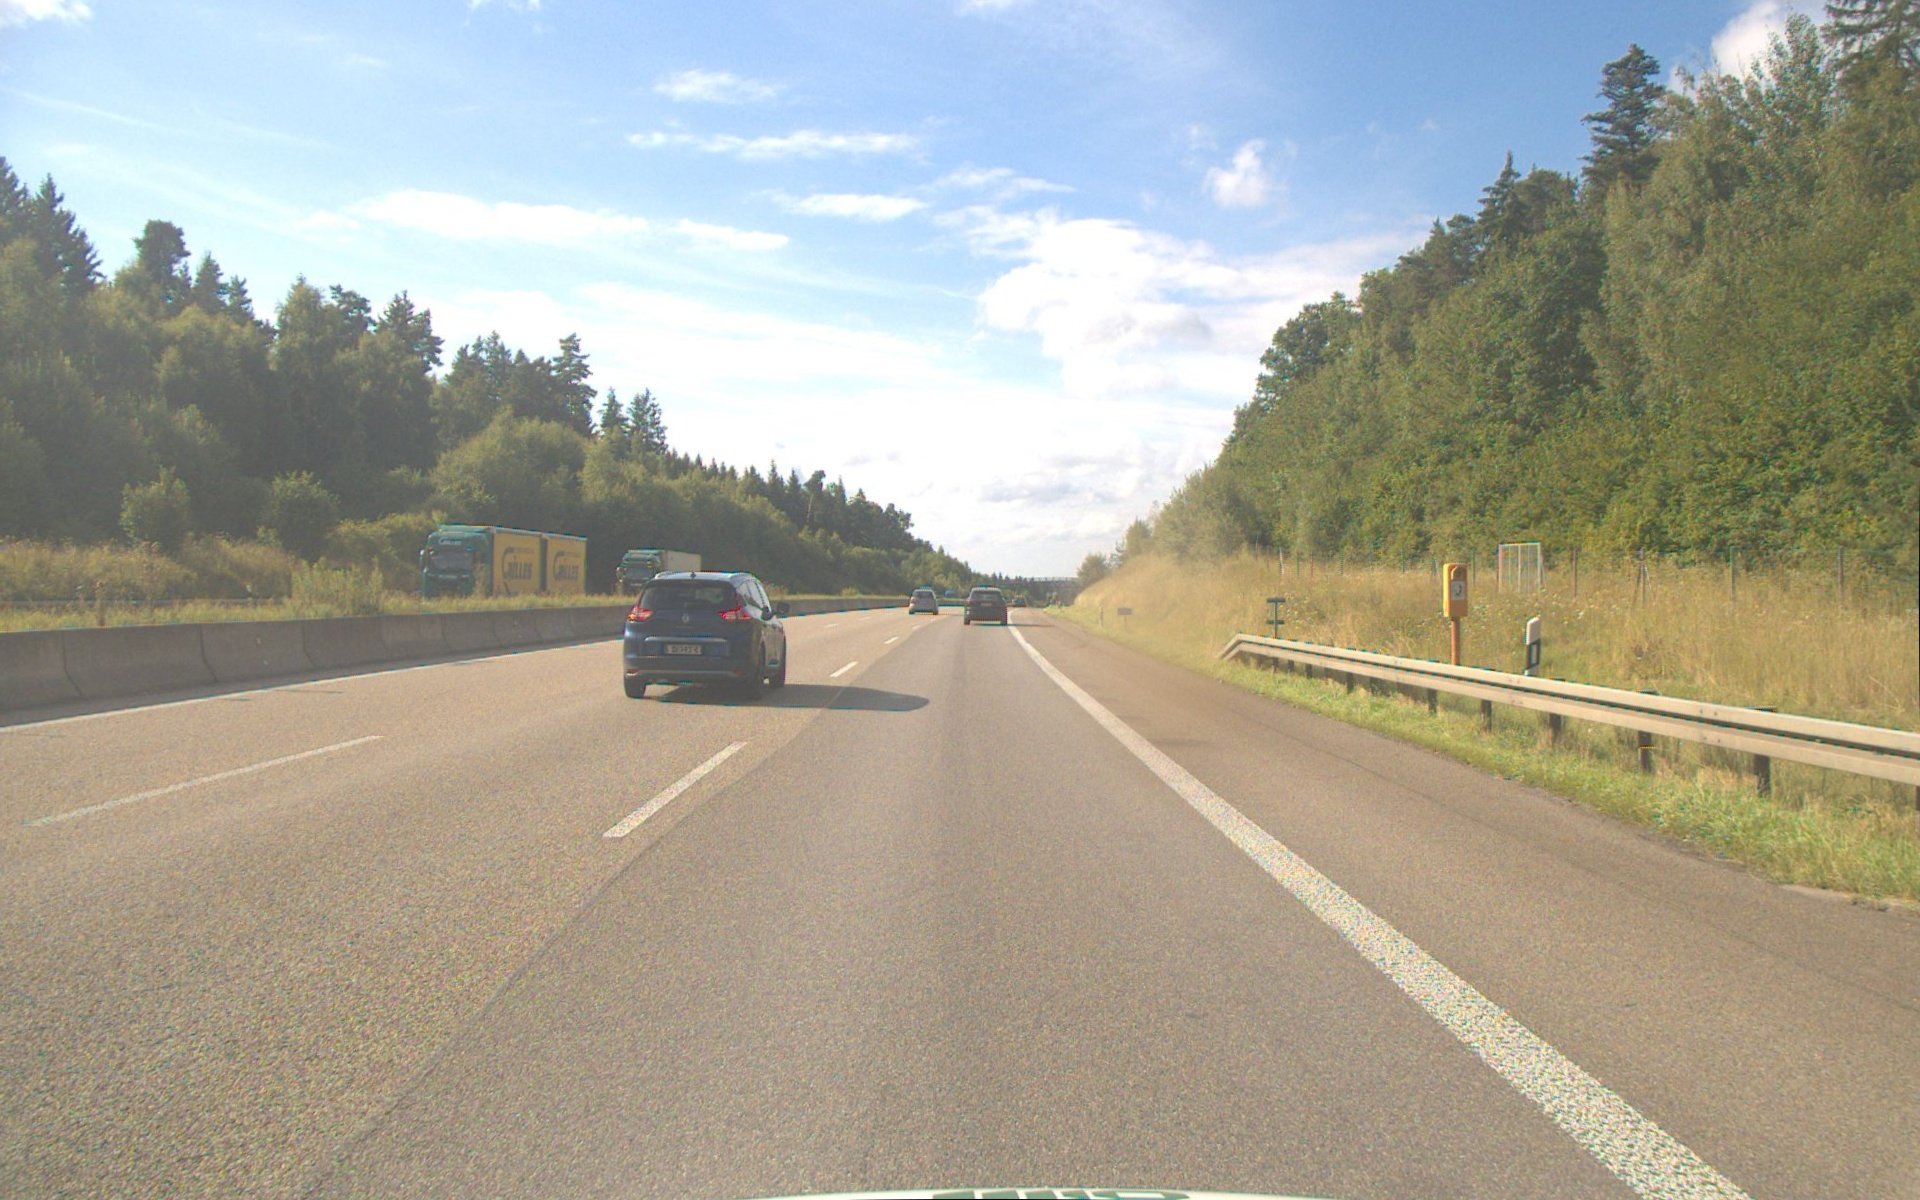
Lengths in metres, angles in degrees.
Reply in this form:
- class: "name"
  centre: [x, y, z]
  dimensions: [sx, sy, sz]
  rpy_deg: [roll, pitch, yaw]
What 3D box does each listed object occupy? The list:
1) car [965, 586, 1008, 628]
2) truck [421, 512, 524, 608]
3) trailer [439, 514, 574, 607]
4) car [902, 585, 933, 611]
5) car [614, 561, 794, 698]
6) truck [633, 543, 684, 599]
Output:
- class: "car"
  centre: [1.142, 0.277, 73.309]
  dimensions: [1.835, 1.704, 3.890]
  rpy_deg: [1, 1, 0]
- class: "truck"
  centre: [-22.074, -1.777, 75.243]
  dimensions: [2.594, 4.157, 6.418]
  rpy_deg: [1, 0, 2]
- class: "trailer"
  centre: [-21.908, -1.845, 80.896]
  dimensions: [2.594, 4.157, 13.205]
  rpy_deg: [1, 1, 2]
- class: "car"
  centre: [-2.701, -0.132, 104.908]
  dimensions: [1.836, 1.523, 3.878]
  rpy_deg: [1, 1, -3]
- class: "car"
  centre: [-3.511, 0.362, 23.497]
  dimensions: [1.953, 1.736, 4.528]
  rpy_deg: [1, 1, -2]
- class: "truck"
  centre: [-21.292, -2.069, 117.028]
  dimensions: [2.638, 3.814, 5.169]
  rpy_deg: [2, 1, -1]
